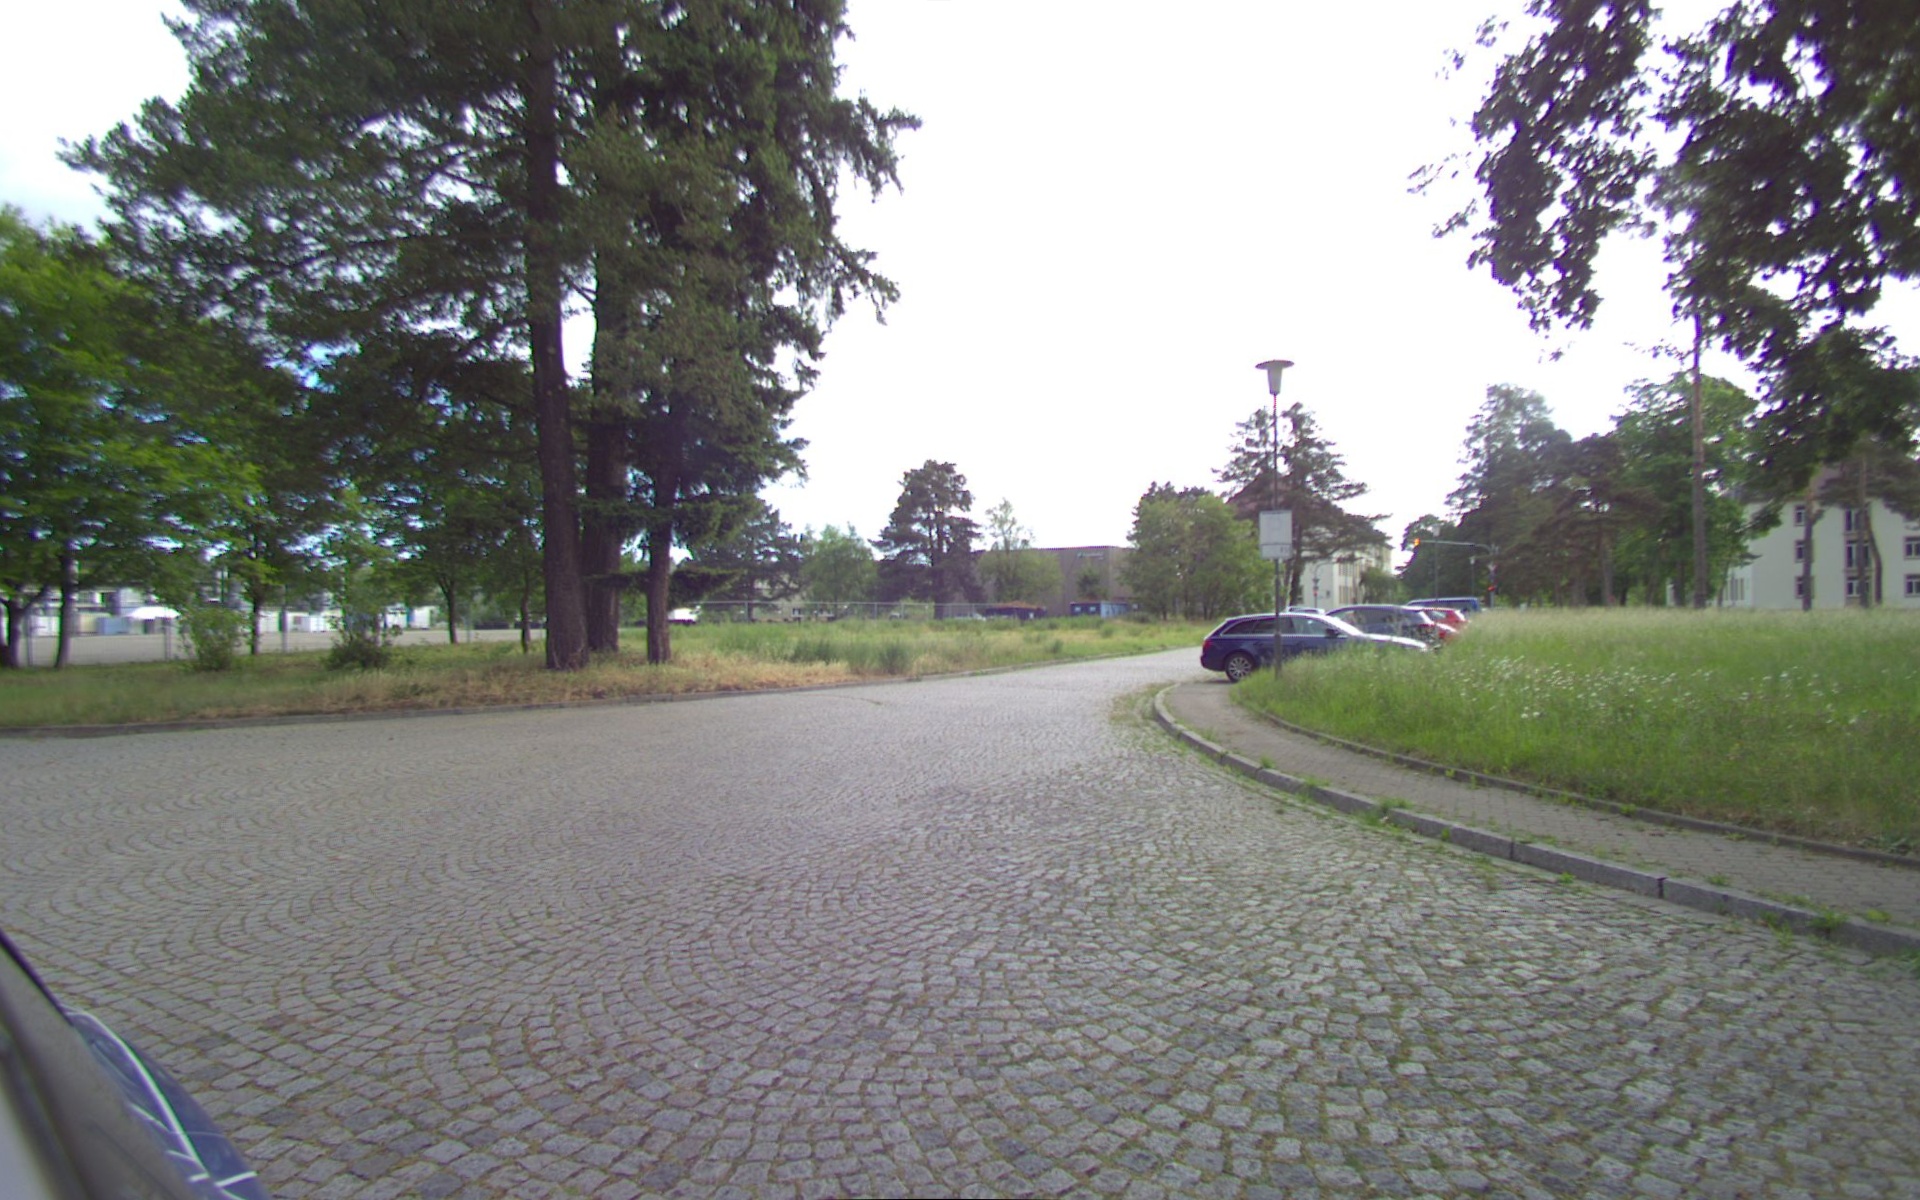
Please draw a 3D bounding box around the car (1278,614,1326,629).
[{"bbox_3d":[25.612,1.611,75.762,3.252,1.095,1.437,-1,-1,26],"label":"car"}]

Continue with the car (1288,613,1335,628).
[{"bbox_3d":[26.999,1.602,77.768,3.252,1.095,1.385,-1,-1,26],"label":"car"}]

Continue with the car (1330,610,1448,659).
[{"bbox_3d":[14.468,1.163,34.144,3.483,1.493,1.587,-3,-2,28],"label":"car"}]

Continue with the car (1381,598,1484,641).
[{"bbox_3d":[23.693,0.990,50.751,4.524,1.916,1.776,-3,-2,29],"label":"car"}]

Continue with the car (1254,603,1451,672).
[{"bbox_3d":[9.687,0.938,25.071,4.346,1.574,1.747,-2,-2,29],"label":"car"}]

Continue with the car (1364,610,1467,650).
[{"bbox_3d":[18.316,1.206,40.683,3.646,1.432,1.562,-3,-2,28],"label":"car"}]

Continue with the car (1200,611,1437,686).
[{"bbox_3d":[7.406,1.013,21.059,4.341,1.415,1.745,-3,-2,32],"label":"car"}]
